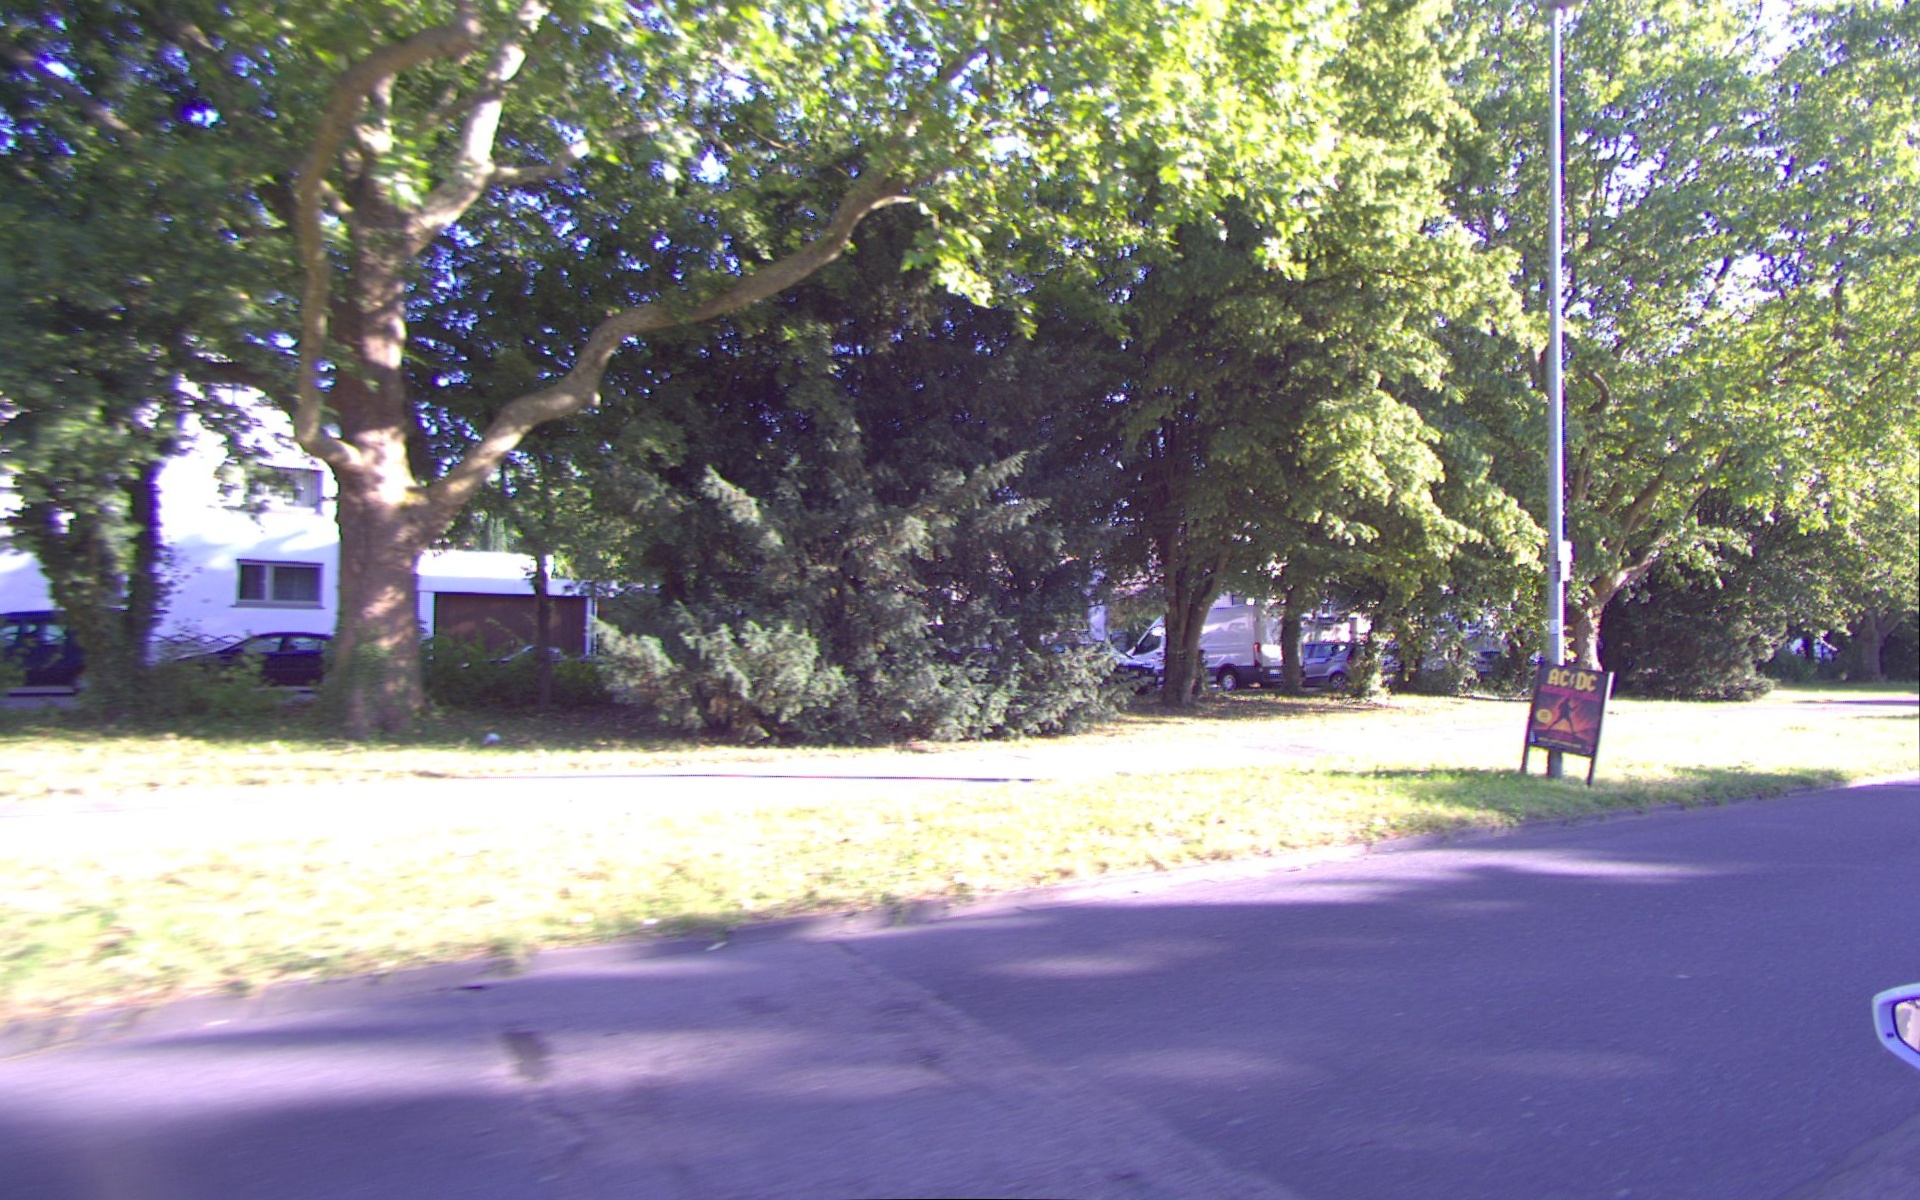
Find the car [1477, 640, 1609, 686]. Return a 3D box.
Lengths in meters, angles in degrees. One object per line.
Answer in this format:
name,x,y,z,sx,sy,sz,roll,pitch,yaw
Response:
car,22.290,2.399,38.498,1.895,1.528,3.958,3,-2,-37

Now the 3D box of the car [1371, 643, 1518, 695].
car,16.397,2.297,34.150,1.937,1.617,4.092,3,-3,-38

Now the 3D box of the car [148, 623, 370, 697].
car,-16.009,1.408,23.234,4.024,1.574,1.817,3,-4,-32

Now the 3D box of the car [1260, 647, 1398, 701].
car,11.450,2.271,31.354,1.796,1.520,3.703,3,-3,-34

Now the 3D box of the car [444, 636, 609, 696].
car,-11.265,1.712,26.154,3.722,1.459,1.769,3,-4,-32

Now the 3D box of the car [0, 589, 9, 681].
car,-24.314,0.803,23.354,1.975,2.319,4.299,2,-2,-27

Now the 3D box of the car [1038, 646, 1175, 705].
car,3.784,1.945,26.394,1.676,1.400,3.459,3,-3,-35

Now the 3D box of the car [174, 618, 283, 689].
car,-19.092,1.351,26.382,1.903,1.572,3.966,3,0,-31

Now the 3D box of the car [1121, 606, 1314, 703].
car,7.305,1.609,29.181,2.163,2.534,5.400,3,-4,-33

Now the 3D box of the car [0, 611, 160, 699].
car,-19.609,1.165,21.082,4.129,1.763,1.884,3,-4,-32
